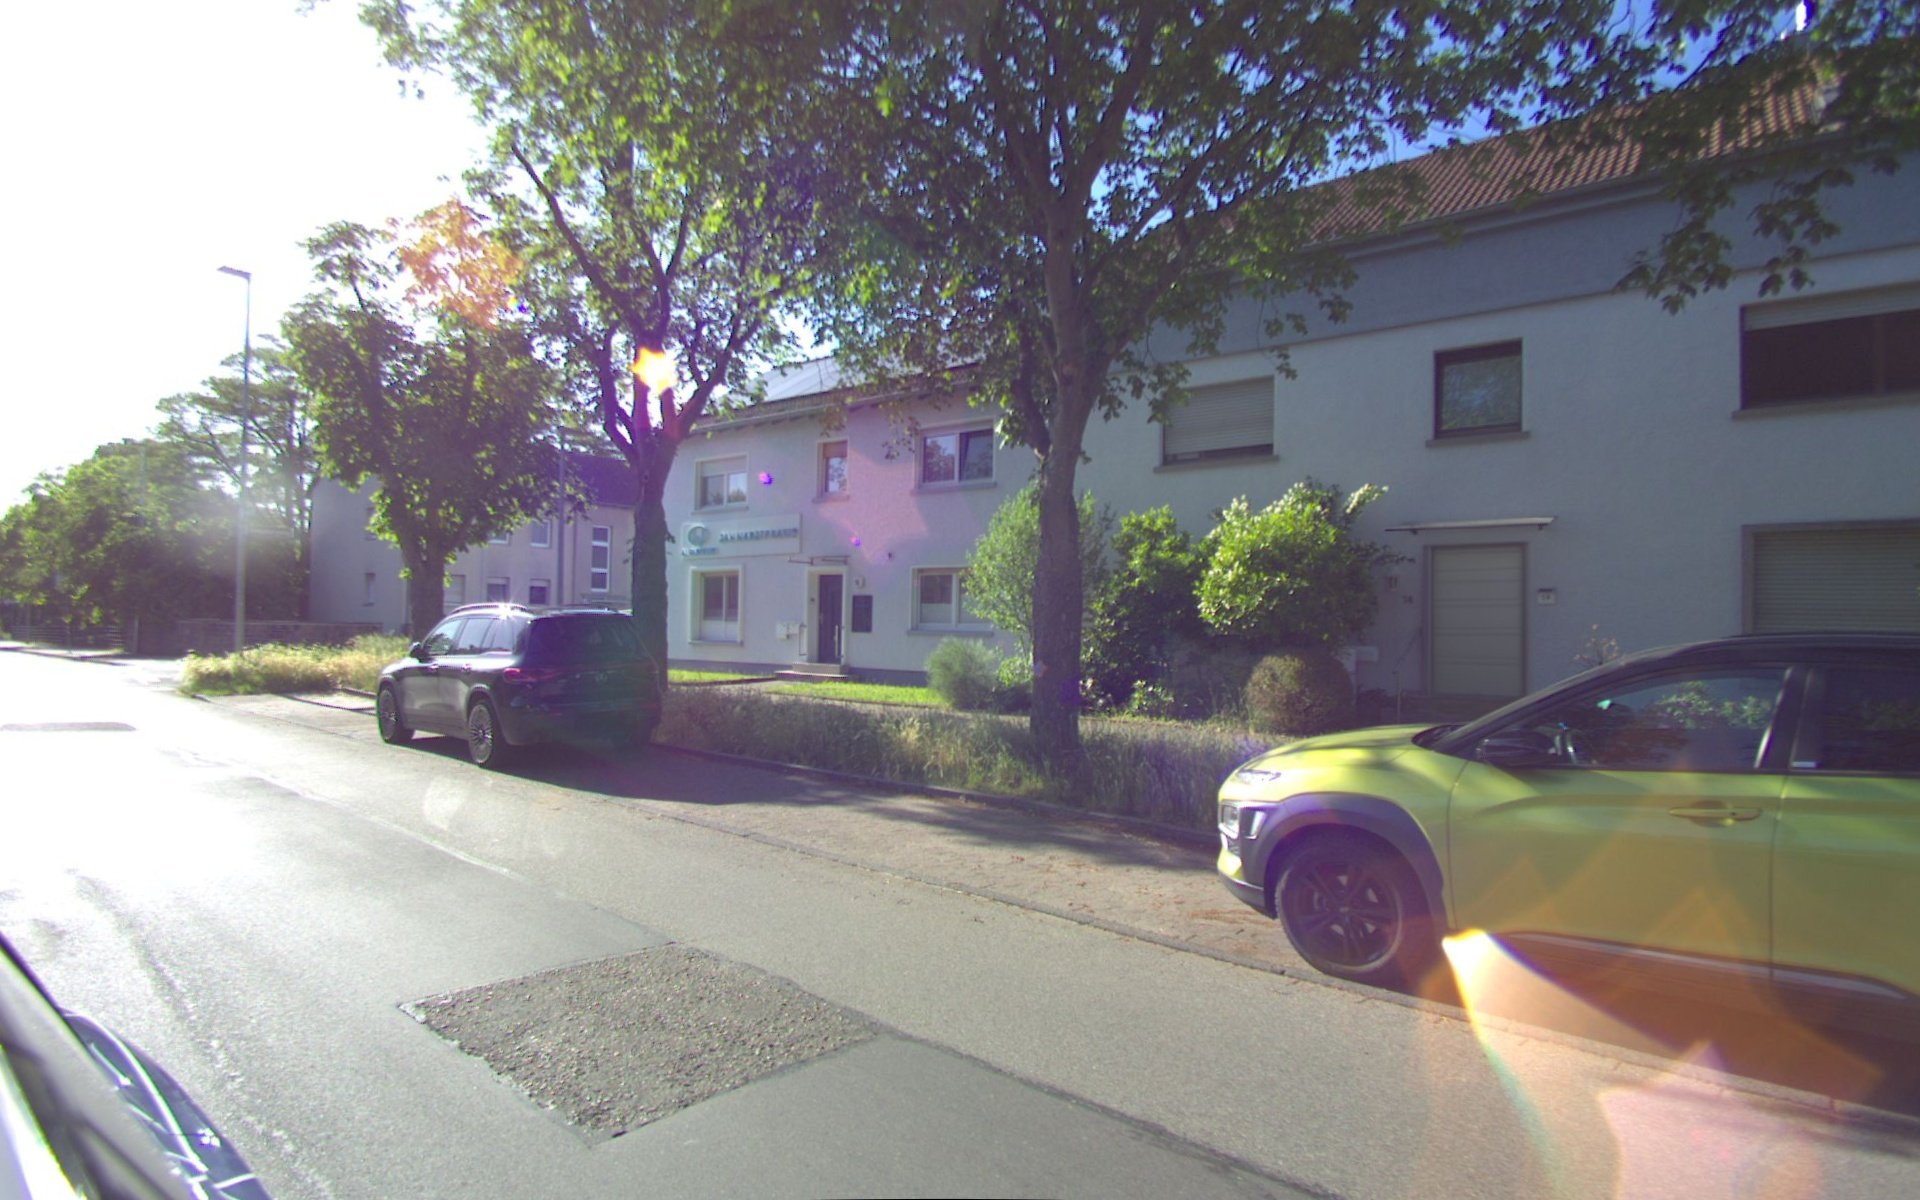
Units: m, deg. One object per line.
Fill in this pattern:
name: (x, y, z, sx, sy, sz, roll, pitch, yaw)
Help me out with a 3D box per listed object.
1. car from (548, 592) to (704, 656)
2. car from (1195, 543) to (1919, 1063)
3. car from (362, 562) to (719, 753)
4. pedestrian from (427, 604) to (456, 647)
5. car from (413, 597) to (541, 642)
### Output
car: (-10.702, 0.816, 32.668, 1.997, 1.852, 4.445, -4, -4, 38)
car: (3.386, 0.626, 4.088, 4.384, 1.621, 1.918, 1, 1, 43)
car: (-4.971, 0.539, 11.583, 4.875, 1.740, 1.932, -1, 0, 43)
pedestrian: (-19.140, 0.953, 37.366, 0.638, 1.565, 0.776, -2, -2, 38)
car: (-17.337, 0.742, 36.420, 1.869, 1.490, 3.729, -3, -4, 39)
